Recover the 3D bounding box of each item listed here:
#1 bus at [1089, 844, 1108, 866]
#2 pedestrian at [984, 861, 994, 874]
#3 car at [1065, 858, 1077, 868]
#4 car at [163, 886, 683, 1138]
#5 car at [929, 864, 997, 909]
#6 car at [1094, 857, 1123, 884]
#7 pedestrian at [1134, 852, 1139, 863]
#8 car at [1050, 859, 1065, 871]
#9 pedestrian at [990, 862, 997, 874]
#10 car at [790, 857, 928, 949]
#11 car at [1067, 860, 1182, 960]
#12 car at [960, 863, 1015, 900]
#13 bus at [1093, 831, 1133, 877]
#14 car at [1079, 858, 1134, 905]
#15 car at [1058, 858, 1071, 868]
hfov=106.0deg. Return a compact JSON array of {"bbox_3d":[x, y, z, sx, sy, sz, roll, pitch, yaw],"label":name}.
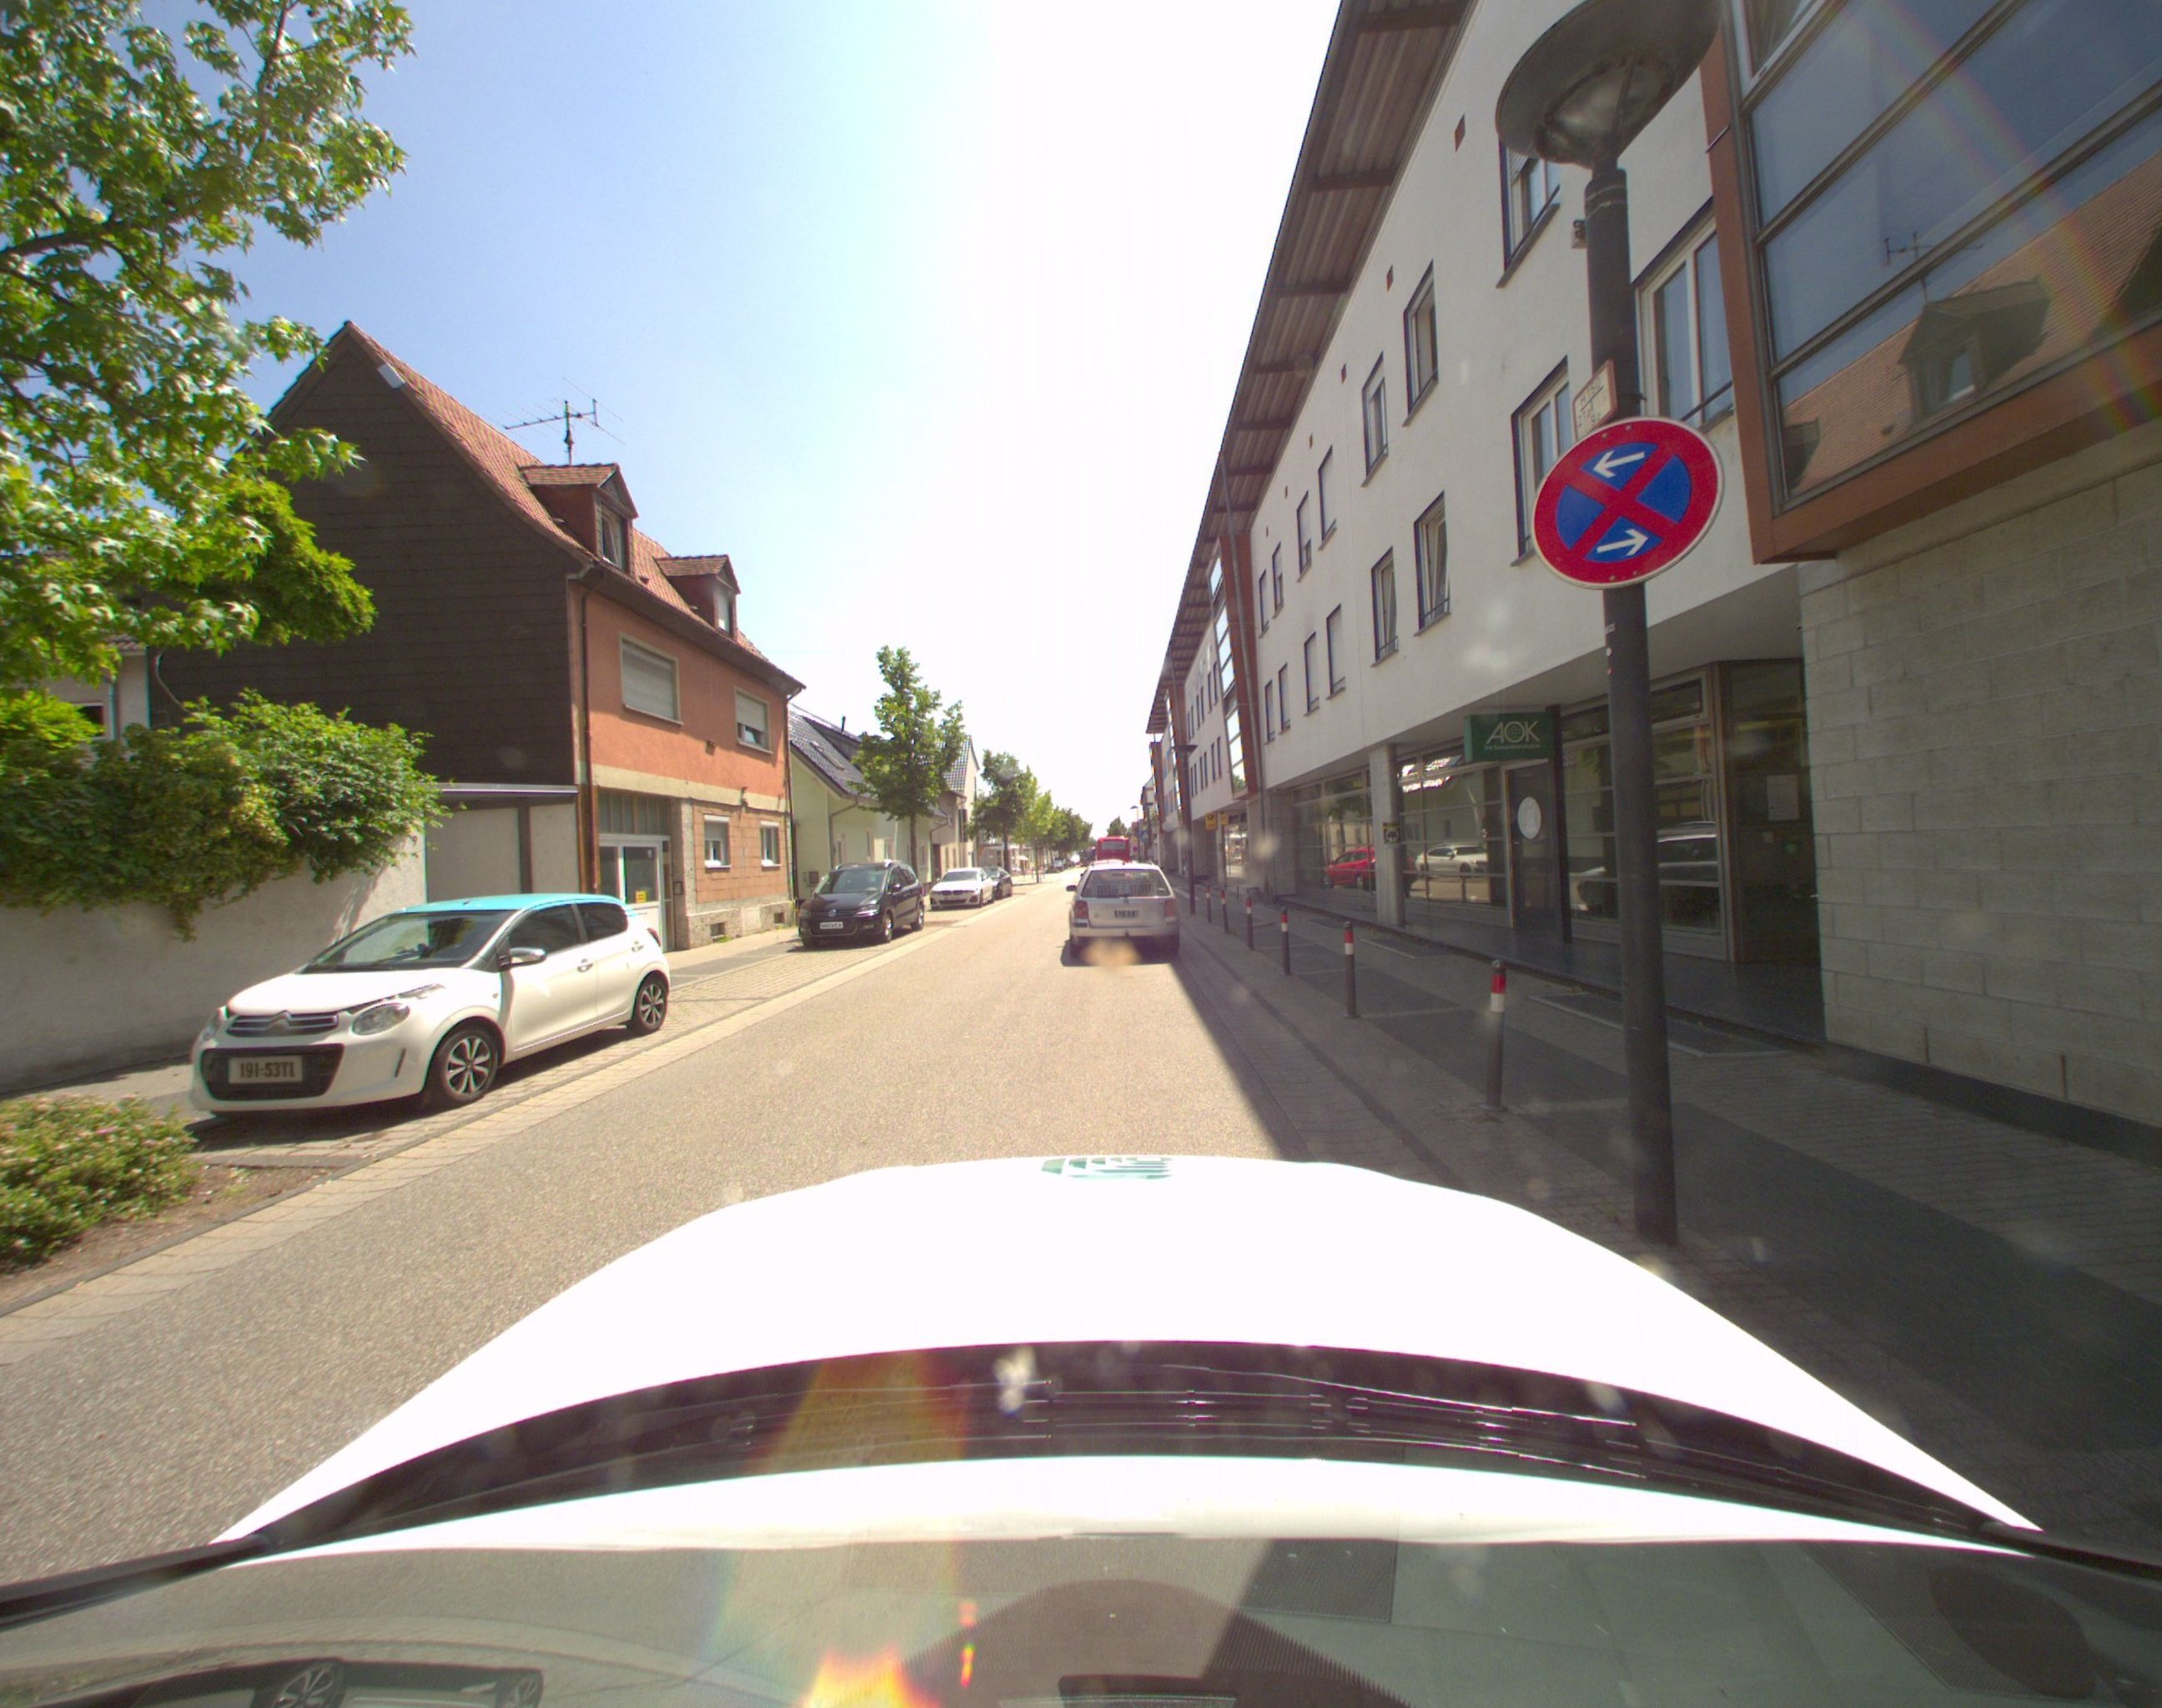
[{"bbox_3d":[2.812,0.041,137.135,2.660,3.123,17.805,-3,2,0],"label":"bus"},{"bbox_3d":[-9.036,1.349,80.385,0.639,1.289,0.780,0,-1,-42],"label":"pedestrian"},{"bbox_3d":[-1.757,1.439,138.021,1.805,1.559,4.001,-3,0,1],"label":"car"},{"bbox_3d":[-5.131,1.101,7.017,1.548,1.430,3.412,-4,0,2],"label":"car"},{"bbox_3d":[-4.344,1.167,30.557,1.713,1.437,4.461,-2,0,2],"label":"car"},{"bbox_3d":[1.612,0.917,47.227,1.587,1.430,3.682,-1,0,3],"label":"car"},{"bbox_3d":[8.556,0.526,125.823,0.604,1.667,0.789,-3,-1,0],"label":"pedestrian"},{"bbox_3d":[-3.043,1.406,104.826,1.599,1.438,4.066,-3,0,1],"label":"car"},{"bbox_3d":[-8.763,1.421,81.550,0.620,1.179,0.696,-3,0,-3],"label":"pedestrian"},{"bbox_3d":[-4.842,0.987,18.468,1.769,1.726,4.520,-3,0,1],"label":"car"},{"bbox_3d":[0.690,0.828,13.762,1.670,1.430,3.681,-1,0,2],"label":"car"},{"bbox_3d":[-4.063,1.173,36.148,1.654,1.437,4.541,-3,0,3],"label":"car"},{"bbox_3d":[2.446,0.085,66.519,2.731,3.298,12.704,-2,0,0],"label":"bus"},{"bbox_3d":[0.864,0.859,27.389,1.670,1.430,3.681,-1,0,2],"label":"car"},{"bbox_3d":[-2.593,1.403,131.536,1.805,1.559,4.001,-3,0,1],"label":"car"}]
